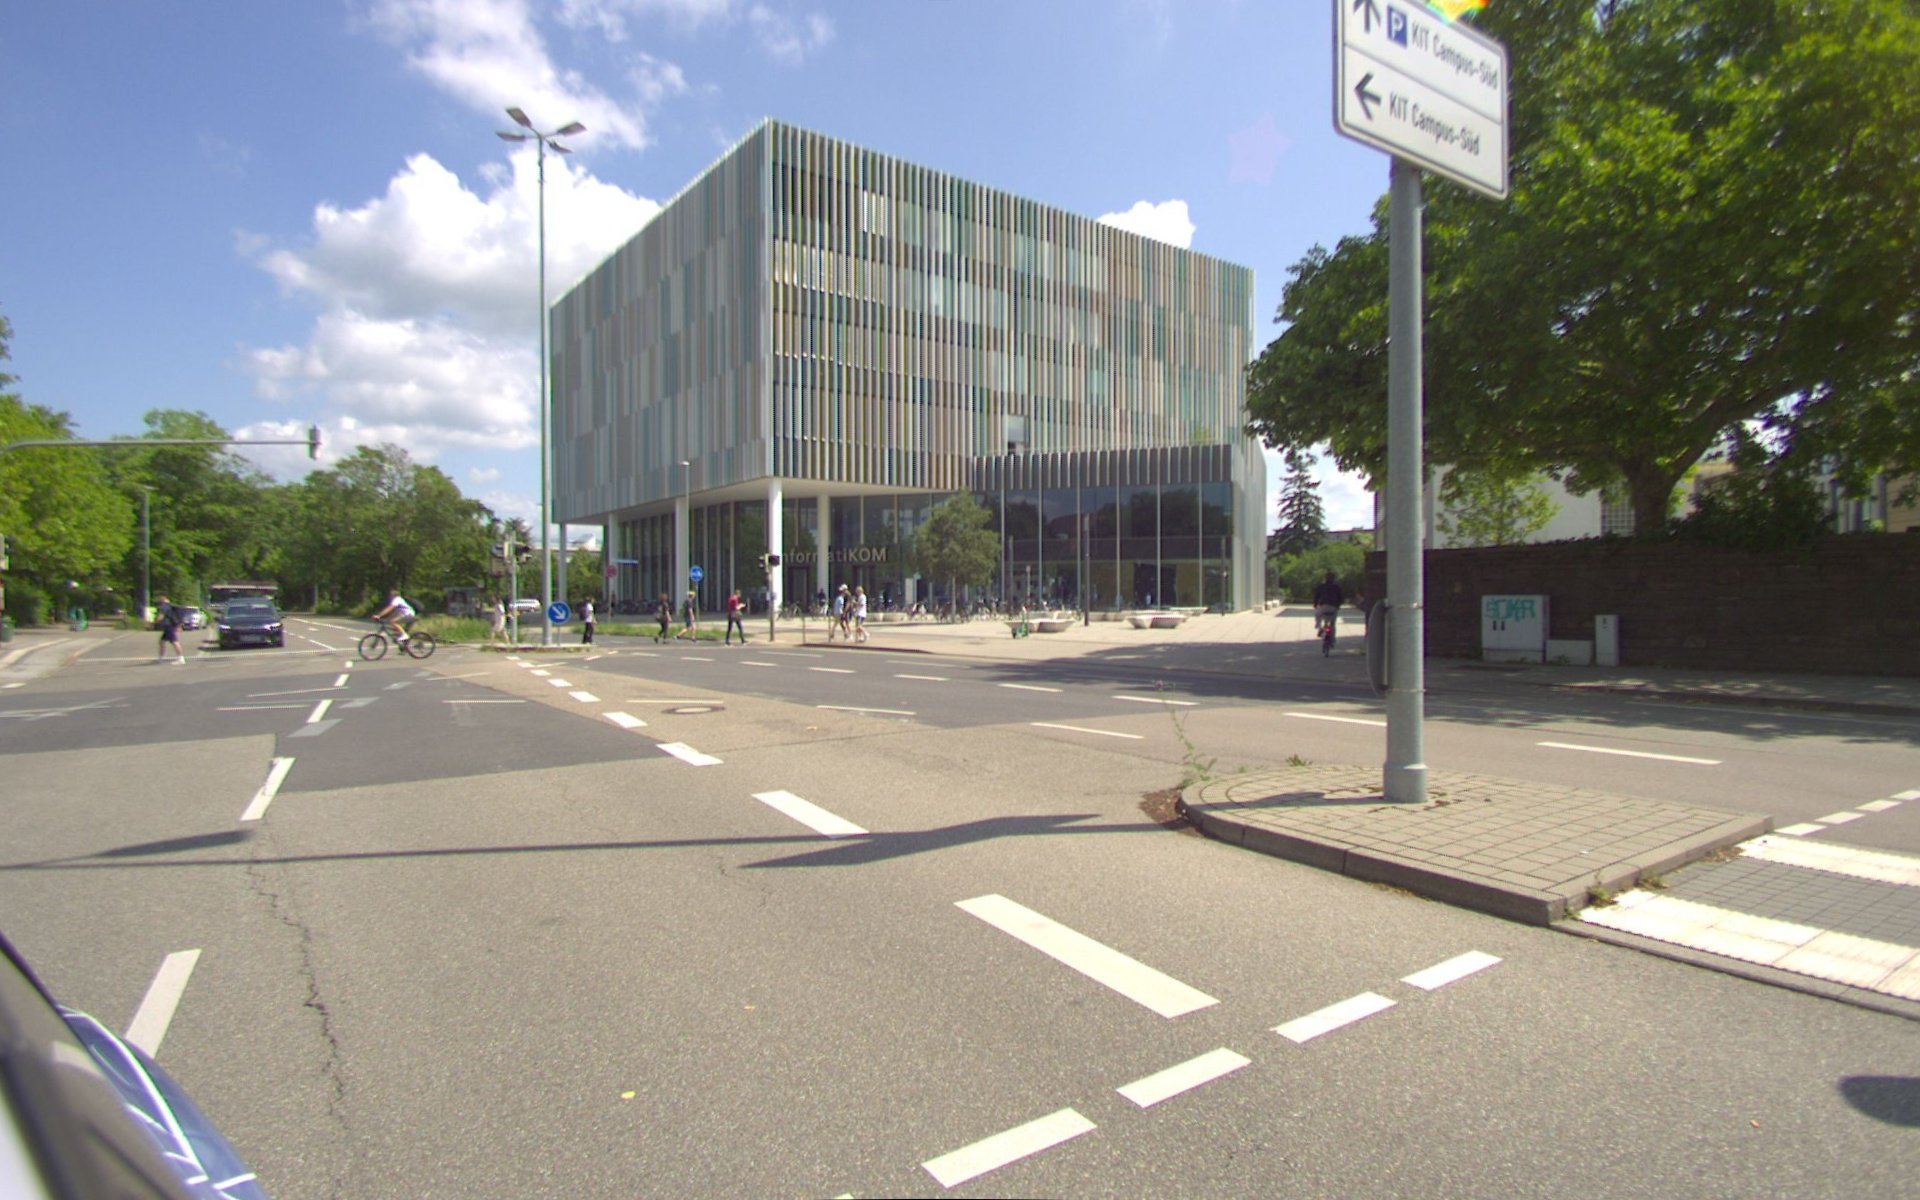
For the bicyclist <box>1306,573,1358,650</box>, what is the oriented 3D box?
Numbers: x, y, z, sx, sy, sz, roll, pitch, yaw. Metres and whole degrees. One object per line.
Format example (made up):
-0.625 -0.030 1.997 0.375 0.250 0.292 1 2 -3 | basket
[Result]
8.445 0.254 23.006 0.775 1.680 1.109 -1 0 2 | bicyclist

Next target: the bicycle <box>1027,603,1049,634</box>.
4.137 0.965 53.963 0.986 1.564 3.412 -1 0 2 | bicycle

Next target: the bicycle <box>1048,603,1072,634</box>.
5.171 0.928 52.657 0.986 1.564 3.412 -1 0 2 | bicycle

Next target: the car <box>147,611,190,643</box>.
-45.398 1.523 58.046 1.883 1.796 4.008 0 -1 -38 | car

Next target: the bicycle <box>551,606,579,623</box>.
-35.600 1.333 91.256 2.266 1.506 0.658 0 0 -34 | bicycle

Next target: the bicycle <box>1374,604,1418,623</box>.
24.394 0.773 56.709 2.234 1.024 0.646 -1 -1 24 | bicycle

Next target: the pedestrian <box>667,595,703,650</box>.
-9.837 0.799 36.214 0.866 1.940 0.973 -1 0 -44 | pedestrian

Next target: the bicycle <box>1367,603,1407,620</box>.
26.290 0.701 62.322 2.234 1.024 0.646 -1 -1 24 | bicycle

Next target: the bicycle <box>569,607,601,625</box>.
-31.739 1.344 85.643 2.471 1.506 0.623 0 0 -34 | bicycle

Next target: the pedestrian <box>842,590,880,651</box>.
-3.242 0.647 33.050 1.091 1.940 0.974 -1 0 -12 | pedestrian

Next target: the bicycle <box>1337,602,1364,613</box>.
35.434 0.679 91.820 2.234 1.024 0.646 -1 -1 24 | bicycle

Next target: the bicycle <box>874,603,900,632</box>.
-4.017 0.946 56.113 1.038 1.564 3.412 -1 0 2 | bicycle

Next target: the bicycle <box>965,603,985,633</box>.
0.837 0.937 54.550 0.986 1.564 3.412 -1 0 2 | bicycle

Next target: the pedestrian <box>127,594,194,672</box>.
-20.524 0.838 26.010 1.015 1.940 0.974 -1 0 -13 | pedestrian

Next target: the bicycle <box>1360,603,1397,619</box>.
27.683 0.746 66.976 2.234 1.024 0.646 -1 -1 24 | bicycle

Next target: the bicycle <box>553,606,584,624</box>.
-34.641 1.338 89.498 2.471 1.506 0.623 0 0 -34 | bicycle

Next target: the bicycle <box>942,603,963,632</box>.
-0.381 0.940 55.155 0.986 1.564 3.412 -1 0 2 | bicycle

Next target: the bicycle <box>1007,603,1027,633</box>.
3.010 0.931 54.043 0.986 1.564 3.412 -1 0 2 | bicycle

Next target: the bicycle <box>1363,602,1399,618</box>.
28.675 0.670 68.984 2.234 1.024 0.646 -1 -1 24 | bicycle

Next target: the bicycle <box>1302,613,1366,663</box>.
8.469 0.839 23.007 0.806 1.071 1.894 -1 0 3 | bicycle

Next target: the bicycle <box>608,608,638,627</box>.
-26.175 1.355 78.639 2.165 1.506 0.623 0 0 -34 | bicycle

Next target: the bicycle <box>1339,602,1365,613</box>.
36.564 0.677 94.412 2.234 1.024 0.646 -1 -1 24 | bicycle

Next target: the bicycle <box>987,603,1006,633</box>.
1.946 0.933 54.380 0.986 1.564 3.412 -1 0 2 | bicycle

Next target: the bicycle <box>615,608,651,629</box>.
-24.543 1.361 75.993 2.471 1.506 0.623 0 0 -34 | bicycle

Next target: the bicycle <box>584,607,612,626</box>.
-29.949 1.346 83.754 2.038 1.506 0.623 0 0 -34 | bicycle

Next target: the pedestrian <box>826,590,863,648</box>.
-3.923 0.630 34.264 1.090 1.940 0.975 -1 0 -16 | pedestrian

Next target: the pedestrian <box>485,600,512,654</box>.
-13.310 0.777 29.195 0.416 1.515 0.583 -1 0 37 | pedestrian

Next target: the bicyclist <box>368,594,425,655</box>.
-13.867 0.580 24.939 1.058 1.455 0.975 -1 0 -18 | bicyclist

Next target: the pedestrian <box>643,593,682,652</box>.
-10.108 0.754 34.397 0.970 1.940 0.868 -1 0 36 | pedestrian

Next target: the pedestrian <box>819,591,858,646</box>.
-4.390 0.661 36.514 1.090 1.940 0.975 -1 0 -30 | pedestrian

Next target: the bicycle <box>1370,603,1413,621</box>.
25.083 0.724 58.852 2.234 1.024 0.646 -1 -1 24 | bicycle

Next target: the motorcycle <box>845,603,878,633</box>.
-5.470 0.979 56.286 0.961 1.652 3.287 -1 0 10 | motorcycle

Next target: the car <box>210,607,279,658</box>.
-24.525 1.075 34.661 1.817 1.614 4.009 0 -1 -36 | car

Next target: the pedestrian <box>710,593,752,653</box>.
-7.587 0.751 33.488 1.090 1.940 0.975 -1 0 -31 | pedestrian

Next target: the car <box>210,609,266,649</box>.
-29.656 1.151 41.556 1.817 1.549 4.009 0 -1 -36 | car

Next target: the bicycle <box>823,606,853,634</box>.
-6.791 1.091 56.533 0.923 1.505 2.679 -1 0 11 | bicycle

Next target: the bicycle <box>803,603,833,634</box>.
-7.946 1.012 56.729 0.801 1.656 3.407 -1 0 7 | bicycle

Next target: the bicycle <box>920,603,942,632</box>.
-1.573 0.940 55.459 0.986 1.564 3.412 -1 0 2 | bicycle

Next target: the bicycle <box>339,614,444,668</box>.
-13.950 0.986 24.904 2.128 1.261 0.888 -1 0 -18 | bicycle

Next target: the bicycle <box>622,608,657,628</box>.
-24.450 1.355 77.151 2.471 1.506 0.623 0 0 -34 | bicycle

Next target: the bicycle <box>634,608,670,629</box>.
-22.548 1.362 74.102 2.469 1.506 0.732 0 0 -24 | bicycle

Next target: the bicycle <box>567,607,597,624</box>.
-32.724 1.338 87.621 2.293 1.506 0.623 0 0 -34 | bicycle

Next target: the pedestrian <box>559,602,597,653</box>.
-12.764 0.907 33.798 0.865 1.641 0.973 -1 0 -42 | pedestrian

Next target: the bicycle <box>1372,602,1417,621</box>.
23.825 0.630 55.471 2.234 1.024 0.646 -1 -1 24 | bicycle

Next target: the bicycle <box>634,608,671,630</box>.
-22.211 1.366 73.110 2.412 1.506 0.623 0 0 -34 | bicycle

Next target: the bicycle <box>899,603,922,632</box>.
-2.702 0.943 55.754 0.986 1.564 3.412 -1 0 2 | bicycle

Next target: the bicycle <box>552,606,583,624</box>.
-34.949 1.335 90.139 2.471 1.506 0.623 0 0 -34 | bicycle

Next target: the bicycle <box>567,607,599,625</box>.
-32.295 1.342 86.615 2.471 1.506 0.623 0 0 -34 | bicycle
